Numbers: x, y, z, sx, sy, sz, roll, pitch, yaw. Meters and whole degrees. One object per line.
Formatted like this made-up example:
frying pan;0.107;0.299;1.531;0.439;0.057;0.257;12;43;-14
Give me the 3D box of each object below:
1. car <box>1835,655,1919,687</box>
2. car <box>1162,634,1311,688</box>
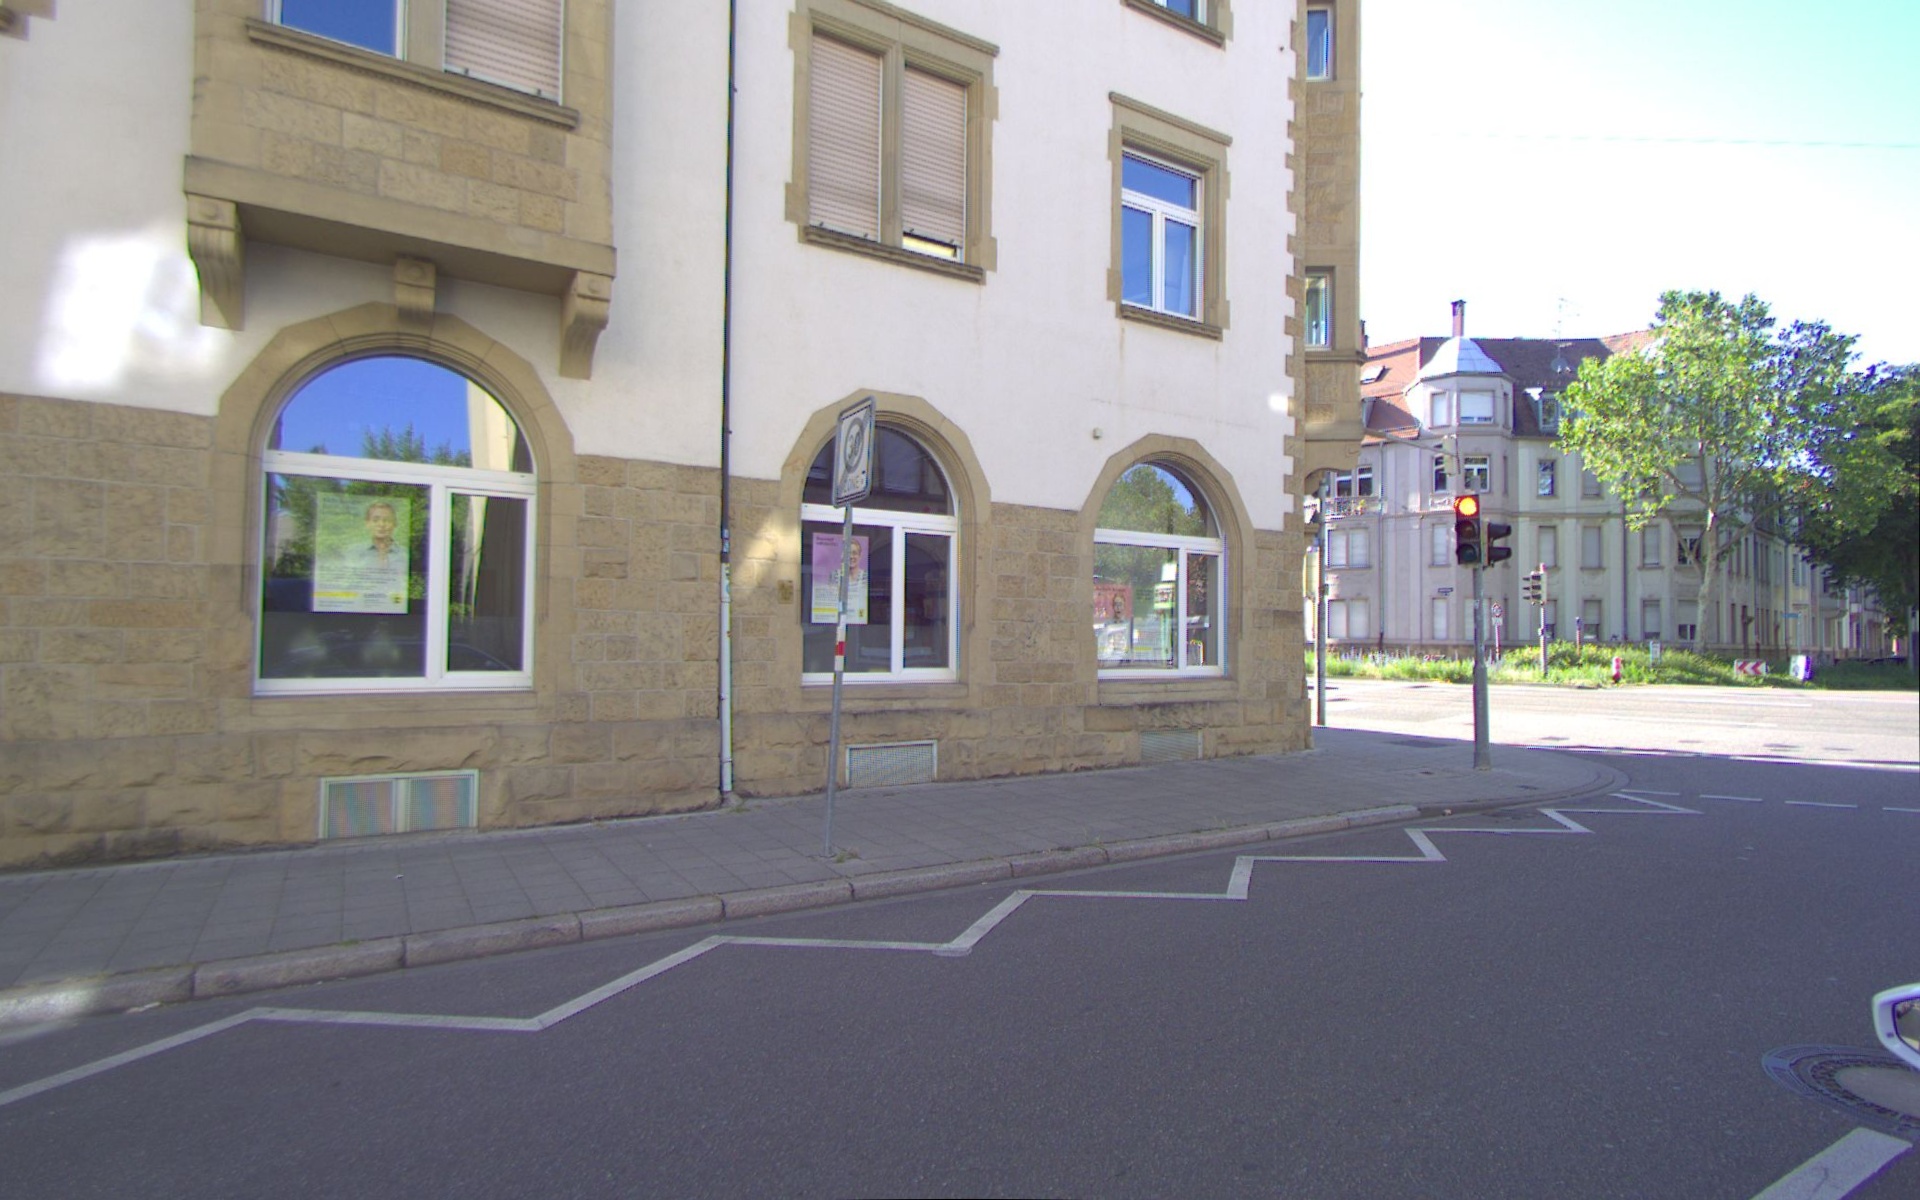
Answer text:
car;46.025;3.491;49.796;3.943;1.505;1.673;-2;-3;42
car;8.324;1.807;30.419;3.944;1.336;1.812;2;-1;43
